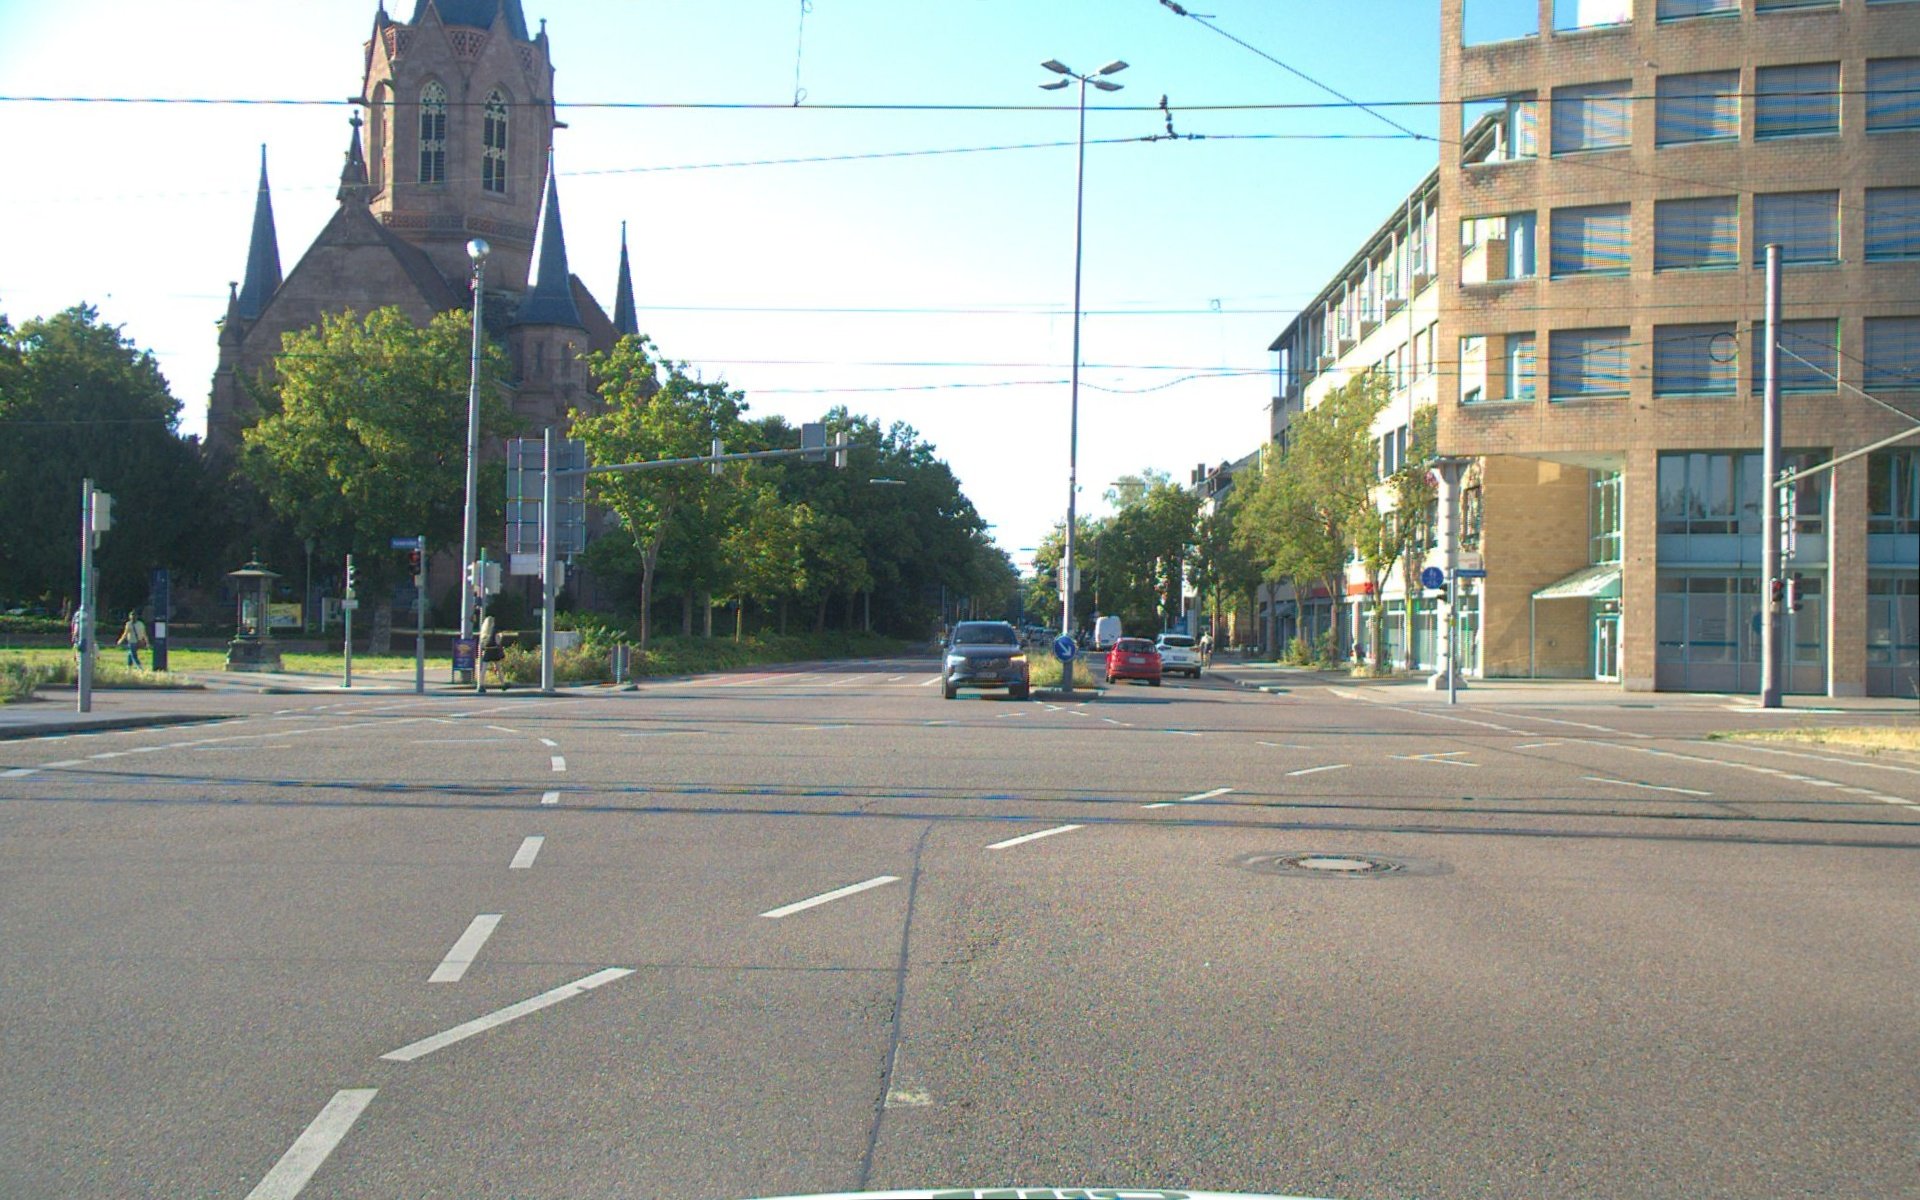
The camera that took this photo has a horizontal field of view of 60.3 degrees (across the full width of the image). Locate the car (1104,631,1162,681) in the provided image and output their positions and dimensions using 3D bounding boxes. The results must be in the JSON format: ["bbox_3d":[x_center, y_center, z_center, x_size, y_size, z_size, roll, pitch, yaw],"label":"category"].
[{"bbox_3d":[5.624,1.810,54.242,1.635,1.488,4.001,2,-1,3],"label":"car"}]

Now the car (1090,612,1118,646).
[{"bbox_3d":[11.156,2.262,128.505,1.952,2.483,4.001,2,-1,3],"label":"car"}]

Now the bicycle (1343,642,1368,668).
[{"bbox_3d":[16.356,2.272,68.450,0.633,1.012,2.081,1,-1,2],"label":"bicycle"}]

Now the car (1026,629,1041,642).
[{"bbox_3d":[8.087,3.868,180.972,1.561,1.289,3.267,1,-1,3],"label":"car"}]

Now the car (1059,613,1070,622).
[{"bbox_3d":[15.077,2.497,239.394,1.561,1.289,3.267,1,-1,3],"label":"car"}]

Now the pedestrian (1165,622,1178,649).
[{"bbox_3d":[14.632,2.454,114.552,0.830,1.835,0.776,1,-1,3],"label":"pedestrian"}]

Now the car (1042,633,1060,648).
[{"bbox_3d":[8.161,3.605,148.624,1.561,1.289,3.267,1,-1,3],"label":"car"}]

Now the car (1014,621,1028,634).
[{"bbox_3d":[8.746,3.904,235.430,1.847,1.700,4.001,2,-1,3],"label":"car"}]

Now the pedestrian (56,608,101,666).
[{"bbox_3d":[-27.342,1.141,51.317,0.996,1.726,0.842,2,-1,-13],"label":"pedestrian"}]

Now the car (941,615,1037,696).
[{"bbox_3d":[0.618,1.294,38.826,1.953,1.754,5.028,1,-2,-2],"label":"car"}]

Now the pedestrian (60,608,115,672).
[{"bbox_3d":[-24.029,1.098,45.547,0.993,1.726,0.844,2,-1,25],"label":"pedestrian"}]

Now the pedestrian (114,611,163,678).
[{"bbox_3d":[-21.983,1.190,44.268,0.875,1.726,0.710,2,-1,23],"label":"pedestrian"}]

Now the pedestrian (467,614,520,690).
[{"bbox_3d":[-11.093,1.239,39.360,0.944,1.770,0.812,1,-1,4],"label":"pedestrian"}]

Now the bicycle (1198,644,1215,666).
[{"bbox_3d":[11.722,2.604,78.558,0.579,0.959,1.979,2,0,3],"label":"bicycle"}]

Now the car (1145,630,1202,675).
[{"bbox_3d":[8.442,2.064,65.686,1.876,1.635,4.271,2,-1,3],"label":"car"}]

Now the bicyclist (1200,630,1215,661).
[{"bbox_3d":[11.737,2.153,78.545,0.579,1.393,0.930,2,0,3],"label":"bicyclist"}]

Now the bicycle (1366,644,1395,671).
[{"bbox_3d":[16.237,2.205,63.873,0.633,1.012,2.081,1,-1,2],"label":"bicycle"}]

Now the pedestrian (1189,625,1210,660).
[{"bbox_3d":[14.078,2.479,97.192,1.084,2.011,1.161,1,-1,3],"label":"pedestrian"}]
